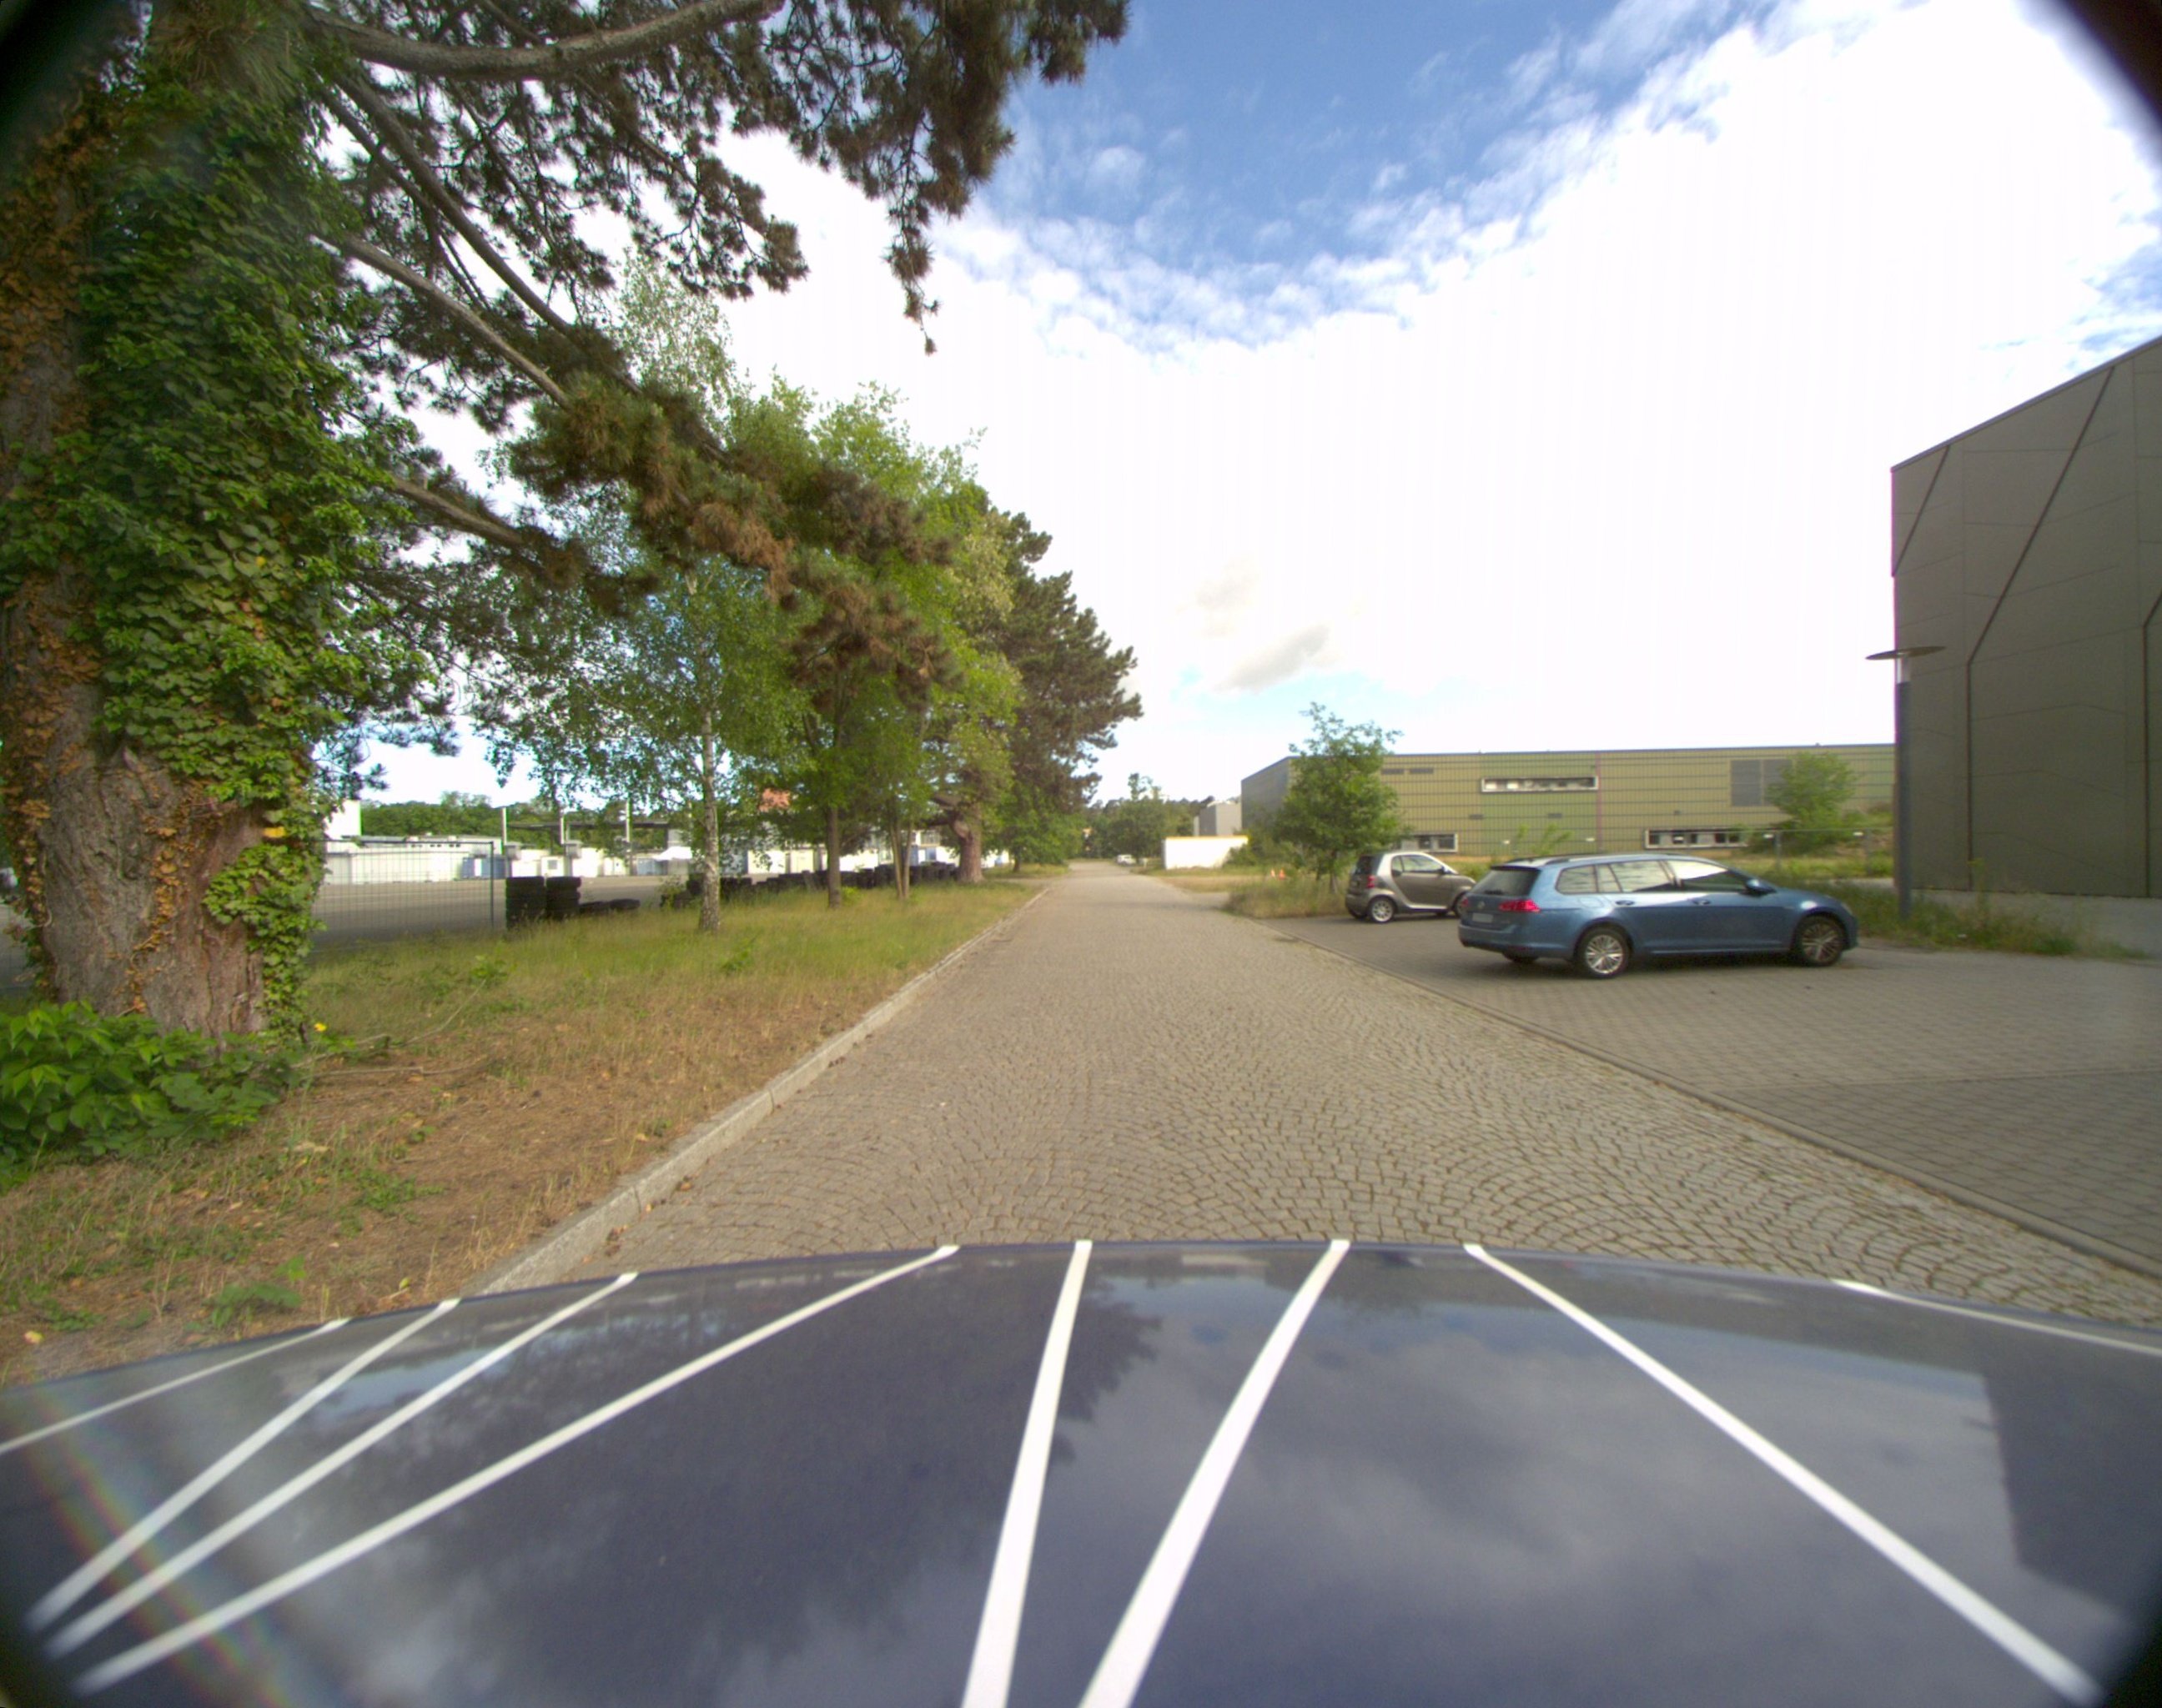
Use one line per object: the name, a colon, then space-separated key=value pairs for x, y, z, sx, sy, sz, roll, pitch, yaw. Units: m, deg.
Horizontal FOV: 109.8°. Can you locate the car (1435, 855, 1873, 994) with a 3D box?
car: x=7.140 y=0.820 z=9.763 sx=4.317 sy=1.420 sz=1.773 roll=-3 pitch=0 yaw=-2

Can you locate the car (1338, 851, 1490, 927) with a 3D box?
car: x=7.389 y=0.748 z=17.058 sx=2.661 sy=1.502 sz=1.610 roll=-3 pitch=0 yaw=0

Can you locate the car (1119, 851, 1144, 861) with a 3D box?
car: x=8.304 y=0.376 z=124.280 sx=3.996 sy=1.604 sz=1.797 roll=-1 pitch=0 yaw=4
